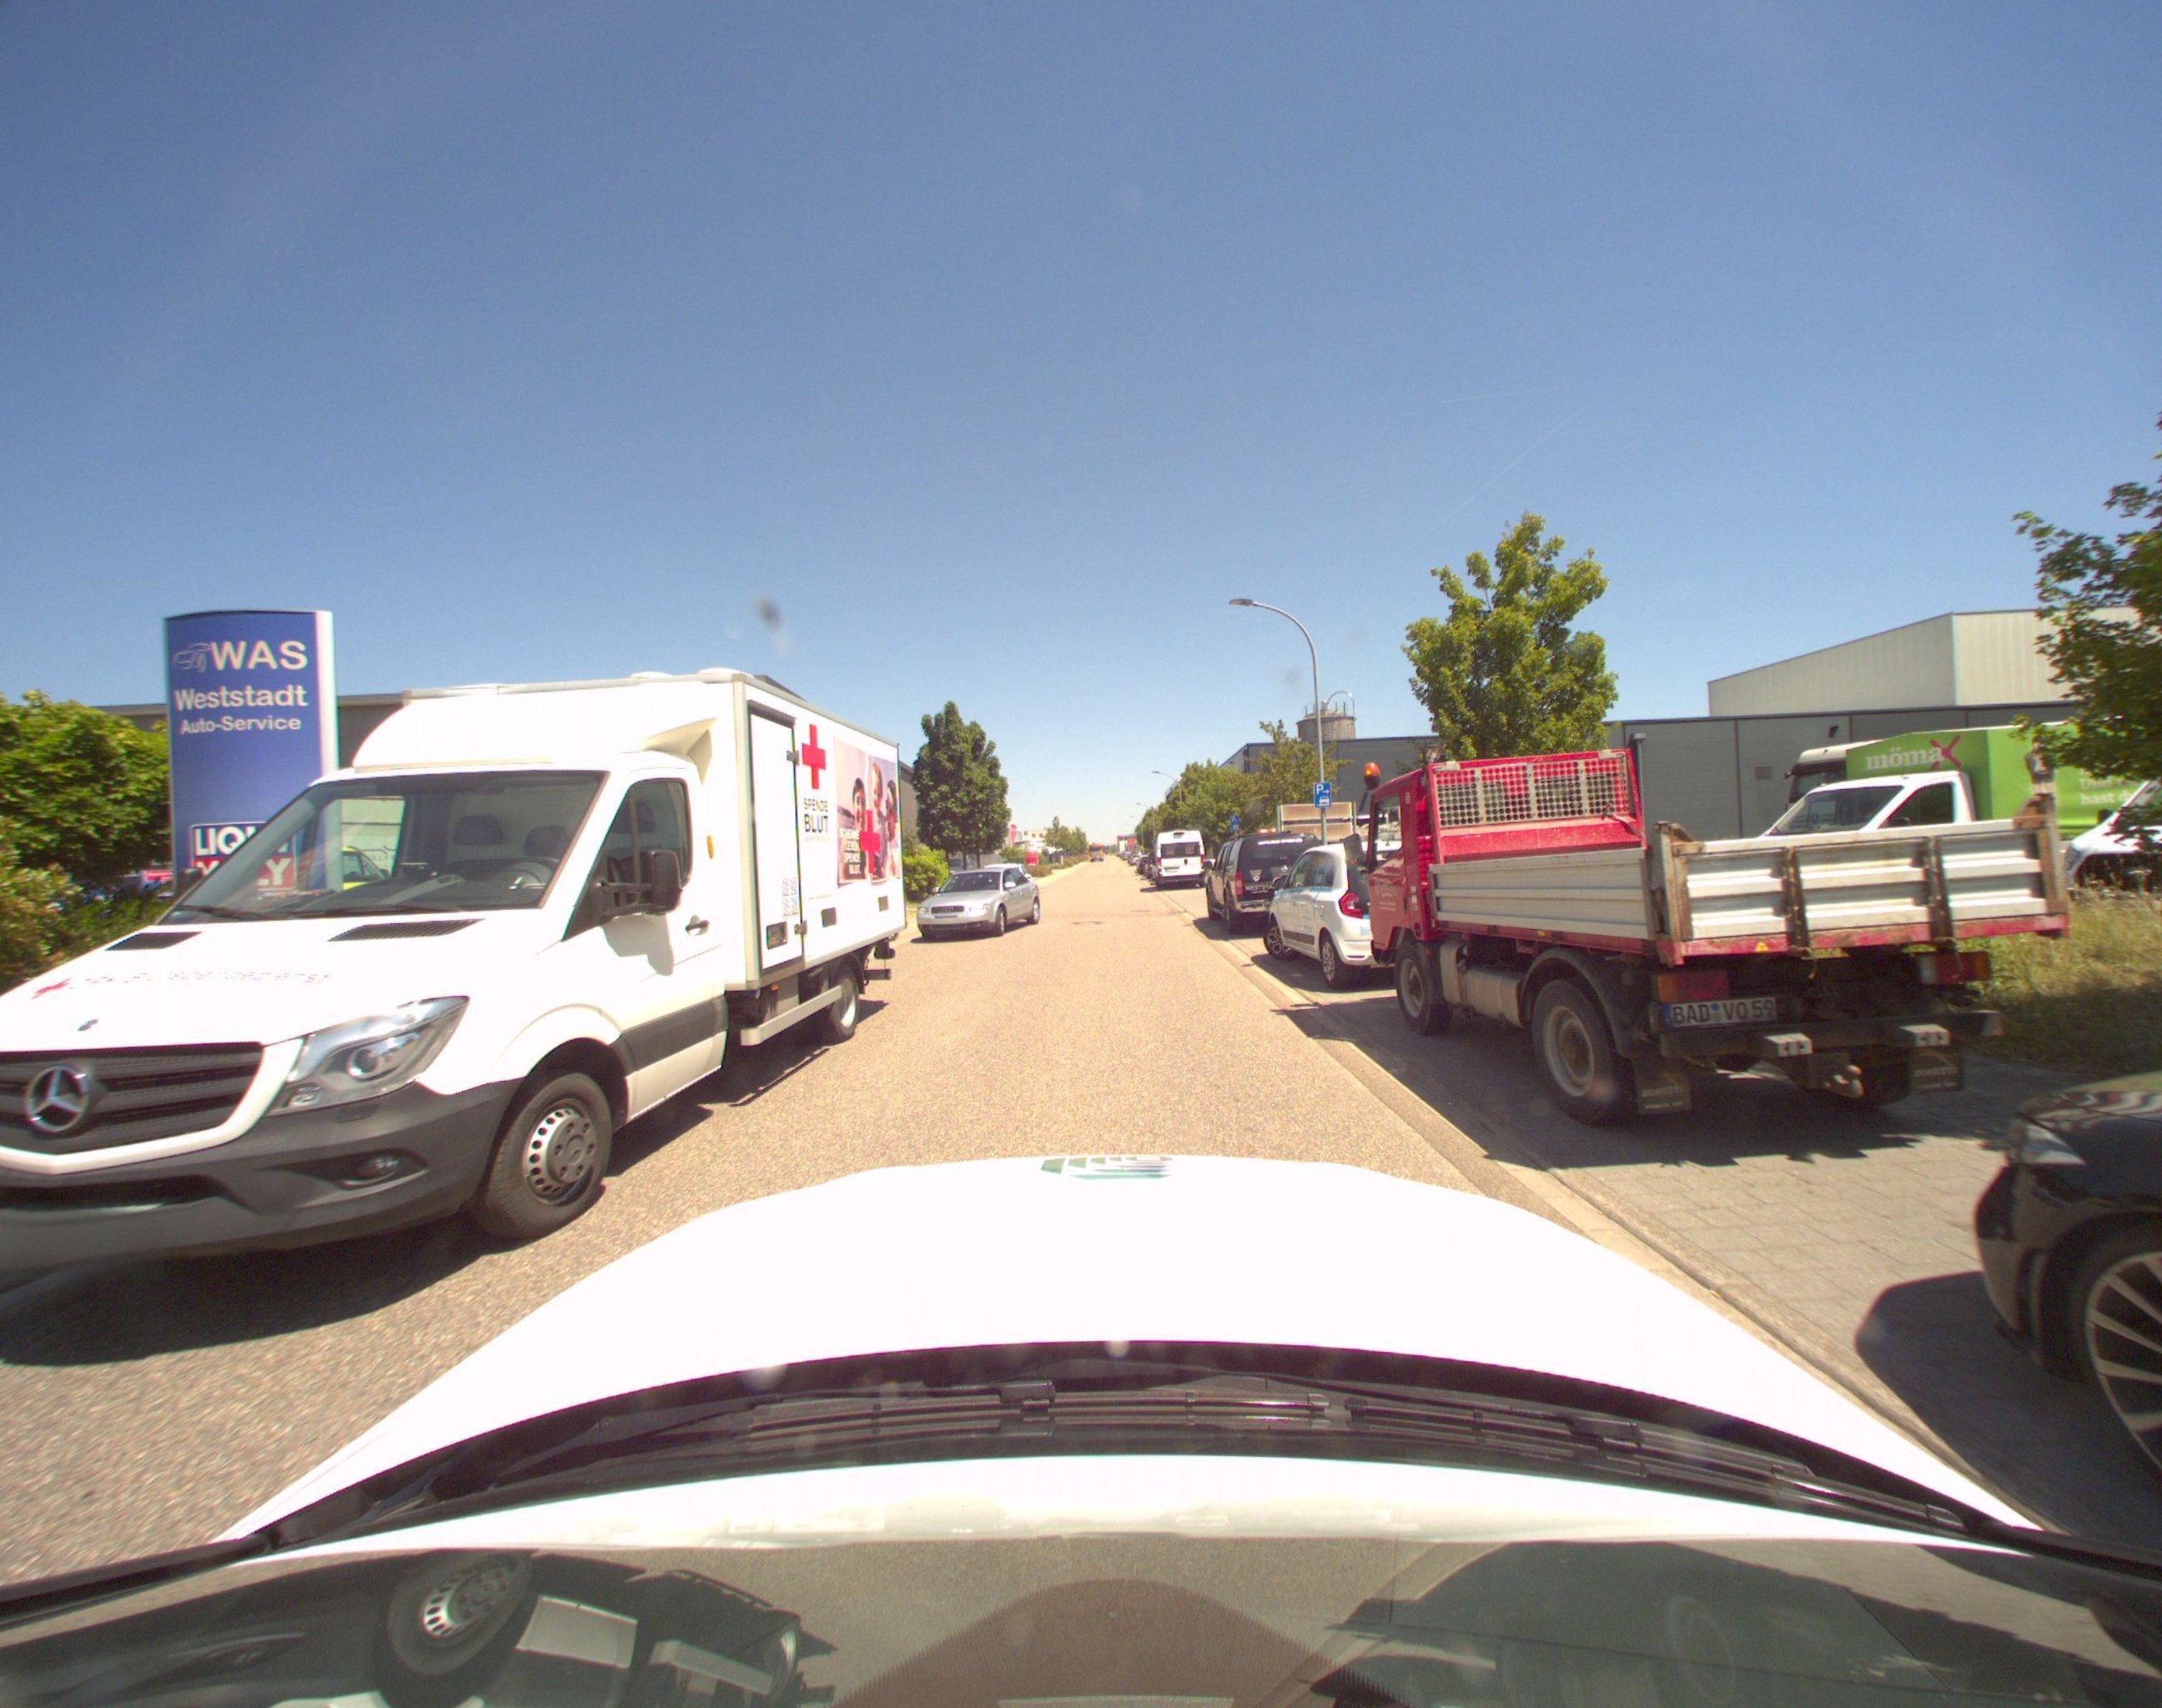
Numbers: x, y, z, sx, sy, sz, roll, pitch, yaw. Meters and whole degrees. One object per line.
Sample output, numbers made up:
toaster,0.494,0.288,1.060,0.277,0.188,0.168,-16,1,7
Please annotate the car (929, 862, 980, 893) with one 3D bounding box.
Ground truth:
car,-7.932,1.454,51.649,1.984,1.735,4.921,-1,1,6

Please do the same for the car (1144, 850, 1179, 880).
car,5.310,0.729,54.358,1.986,1.825,4.355,-3,-1,2

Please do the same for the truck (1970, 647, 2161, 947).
truck,13.295,-0.683,8.312,5.885,2.872,2.305,-3,-1,-1

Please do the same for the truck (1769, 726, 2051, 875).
truck,23.830,-1.436,23.669,5.043,3.875,2.805,-2,-1,2

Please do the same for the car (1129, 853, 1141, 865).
car,8.020,0.748,121.541,1.715,1.694,3.987,-3,0,3

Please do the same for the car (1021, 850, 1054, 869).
car,-6.510,0.803,122.217,4.703,2.586,1.998,-3,0,-2

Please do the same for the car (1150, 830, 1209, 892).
car,4.405,0.291,37.405,2.257,2.497,6.158,-3,0,4

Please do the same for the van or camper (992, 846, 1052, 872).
van or camper,-7.650,0.620,105.904,7.358,3.037,2.791,-3,0,1

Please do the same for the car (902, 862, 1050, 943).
car,-2.166,0.983,18.163,1.771,1.422,4.429,-5,-1,12

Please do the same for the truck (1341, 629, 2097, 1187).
truck,3.330,0.236,5.565,1.673,2.181,4.392,-4,-1,2

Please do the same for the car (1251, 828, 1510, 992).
car,3.462,0.580,10.274,1.732,1.530,4.000,-4,-1,1

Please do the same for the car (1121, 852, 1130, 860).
car,8.227,0.392,150.716,1.579,1.409,3.502,-3,0,2

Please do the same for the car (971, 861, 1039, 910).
car,-2.495,1.017,27.747,1.723,1.458,4.493,-2,-1,2

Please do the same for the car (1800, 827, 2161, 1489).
car,3.061,0.613,0.126,1.691,1.383,4.840,-4,-1,2

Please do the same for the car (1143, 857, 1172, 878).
car,5.673,0.986,60.850,1.843,1.431,4.715,-3,-1,2

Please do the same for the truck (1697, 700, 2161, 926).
truck,13.410,-0.590,12.585,5.800,2.913,2.415,-3,-1,1

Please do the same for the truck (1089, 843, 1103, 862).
truck,2.956,-0.347,159.491,2.439,3.513,8.276,-4,0,2

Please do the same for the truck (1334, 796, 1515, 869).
truck,20.950,-1.284,49.887,9.974,3.822,3.028,-3,-1,-9

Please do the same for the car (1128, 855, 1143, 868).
car,6.958,0.961,103.497,1.711,1.450,3.648,-3,0,2

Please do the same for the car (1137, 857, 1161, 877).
car,5.625,1.013,66.683,1.700,1.504,4.715,-3,-1,7

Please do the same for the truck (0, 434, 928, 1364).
truck,-3.112,0.202,5.816,2.352,2.860,6.419,-5,-1,3

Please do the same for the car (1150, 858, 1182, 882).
car,5.122,0.952,49.309,1.704,1.287,4.119,-3,-1,4

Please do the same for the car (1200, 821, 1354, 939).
car,3.709,0.460,16.445,1.986,1.884,5.159,-4,-1,2

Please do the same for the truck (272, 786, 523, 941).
truck,-18.435,0.272,21.791,7.960,3.557,2.603,-1,0,31

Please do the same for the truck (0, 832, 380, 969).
truck,-17.991,0.878,16.362,5.932,2.462,2.166,-1,0,1
